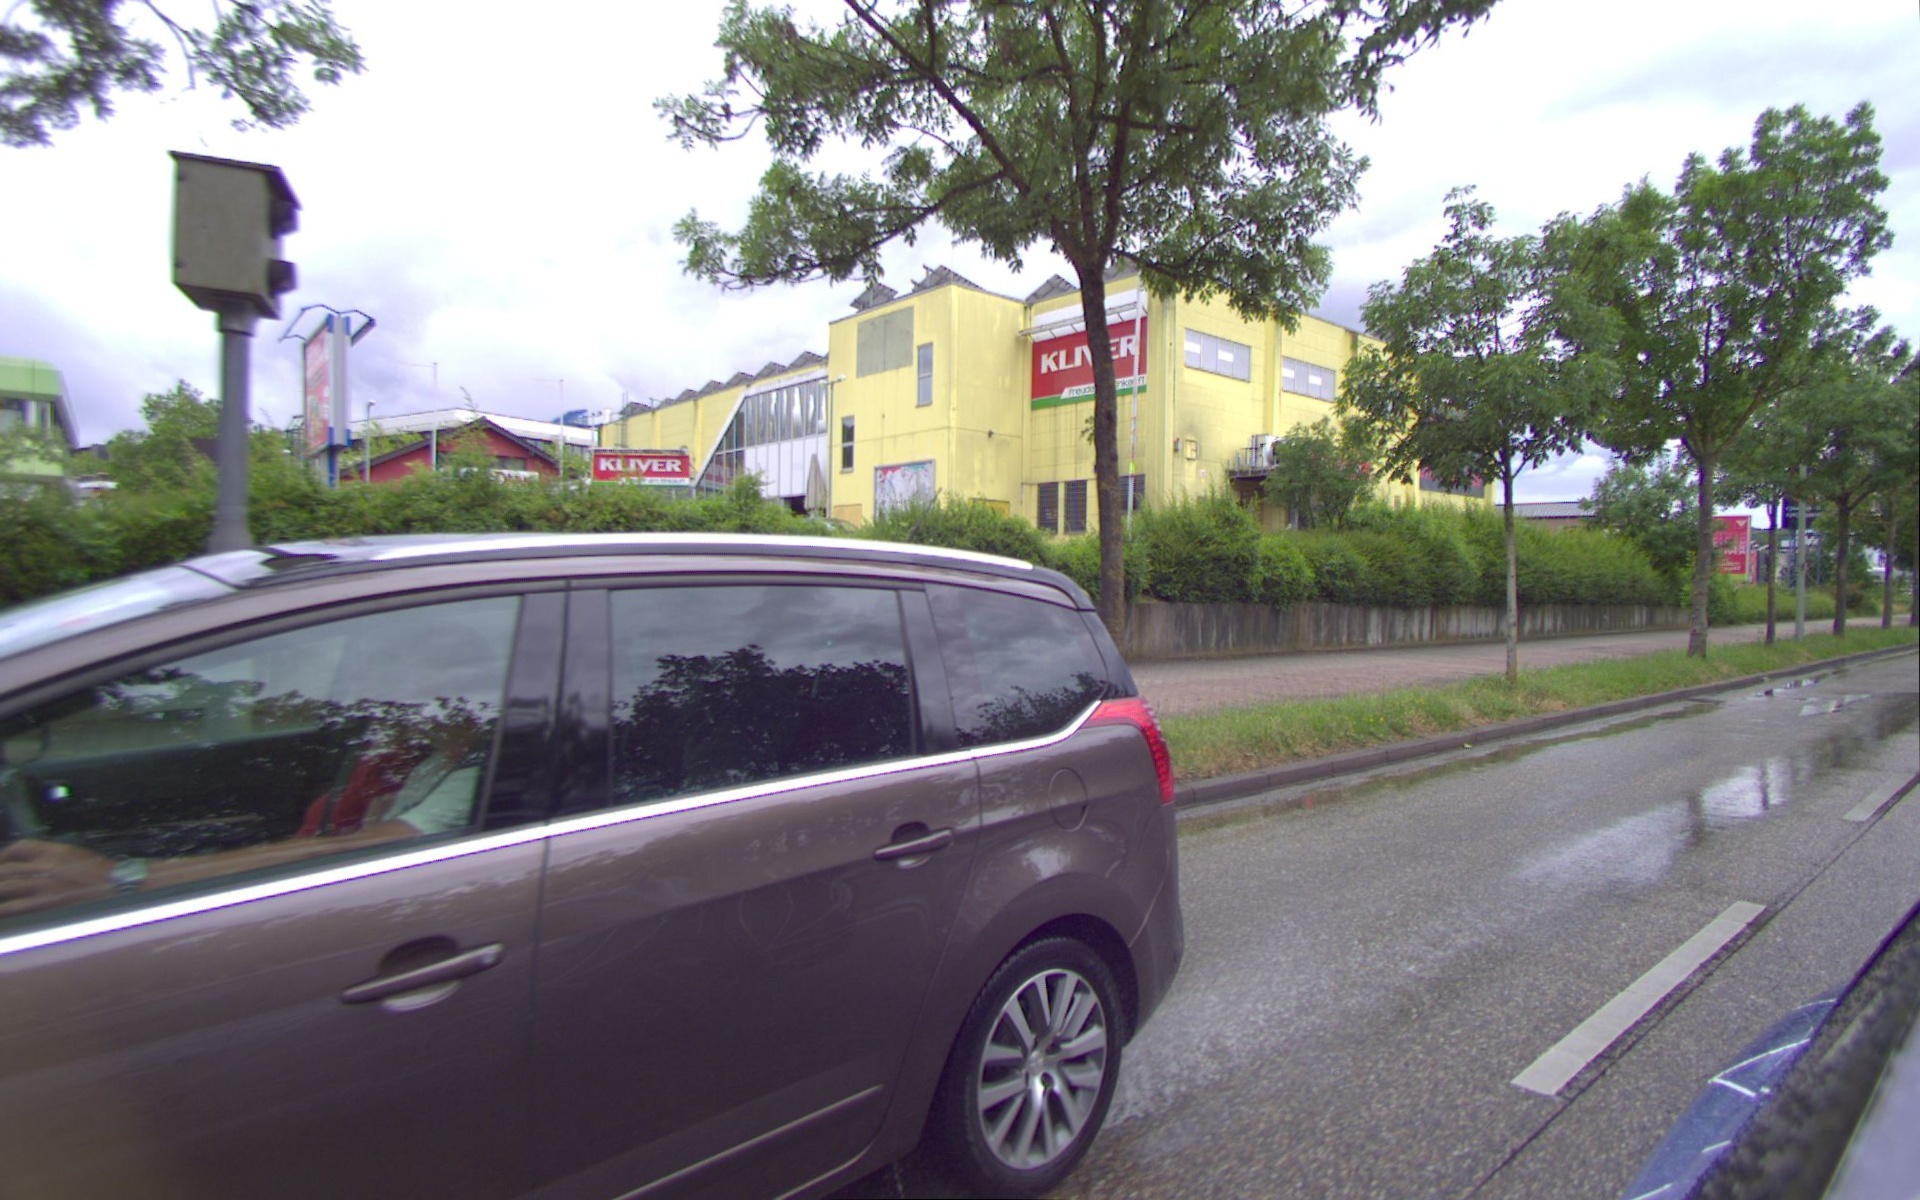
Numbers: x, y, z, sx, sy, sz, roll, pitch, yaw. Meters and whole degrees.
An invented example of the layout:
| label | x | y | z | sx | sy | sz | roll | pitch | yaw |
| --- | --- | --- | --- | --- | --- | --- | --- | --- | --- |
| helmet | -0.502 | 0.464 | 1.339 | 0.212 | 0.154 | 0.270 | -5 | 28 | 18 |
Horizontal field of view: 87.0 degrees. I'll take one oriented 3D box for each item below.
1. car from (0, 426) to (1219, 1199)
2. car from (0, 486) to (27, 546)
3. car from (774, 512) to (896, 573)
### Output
| label | x | y | z | sx | sy | sz | roll | pitch | yaw |
| --- | --- | --- | --- | --- | --- | --- | --- | --- | --- |
| car | -1.493 | 0.587 | 2.087 | 4.392 | 1.644 | 1.730 | 0 | 2 | -41 |
| car | -31.784 | -2.702 | 32.693 | 2.340 | 1.801 | 4.976 | 0 | 2 | -42 |
| car | -4.088 | -1.810 | 32.684 | 1.966 | 1.801 | 3.993 | 0 | 1 | -42 |
